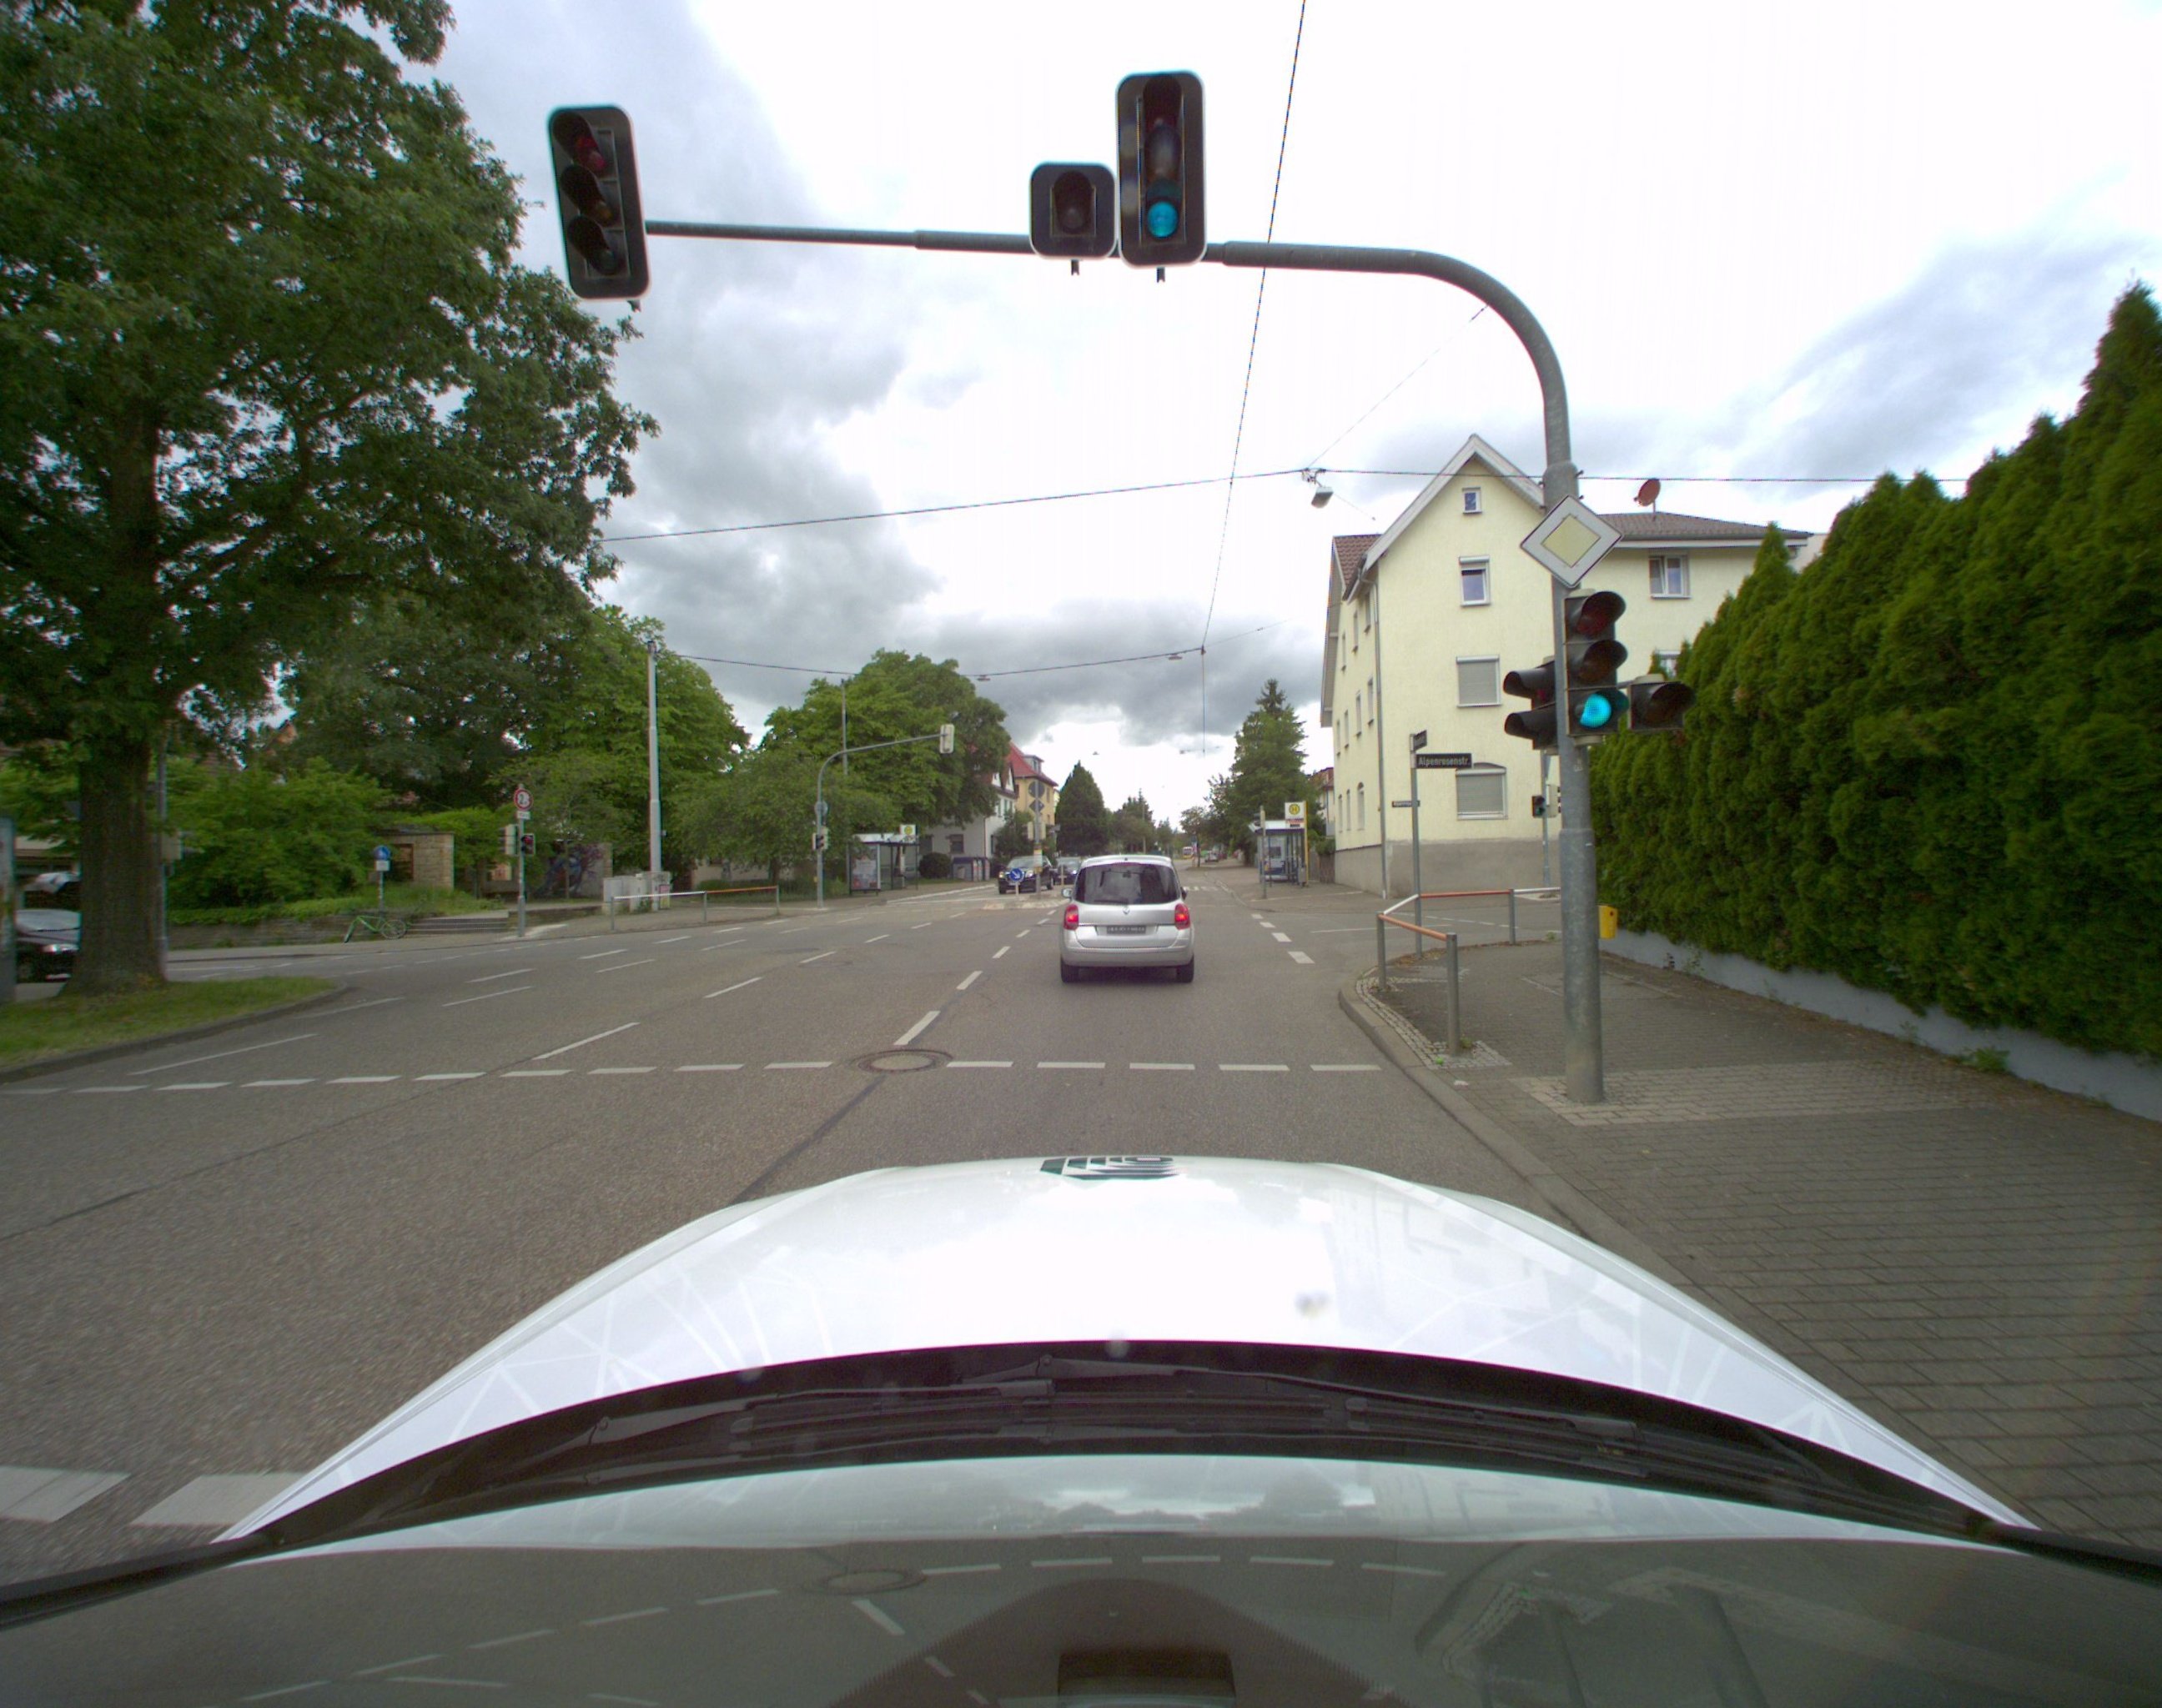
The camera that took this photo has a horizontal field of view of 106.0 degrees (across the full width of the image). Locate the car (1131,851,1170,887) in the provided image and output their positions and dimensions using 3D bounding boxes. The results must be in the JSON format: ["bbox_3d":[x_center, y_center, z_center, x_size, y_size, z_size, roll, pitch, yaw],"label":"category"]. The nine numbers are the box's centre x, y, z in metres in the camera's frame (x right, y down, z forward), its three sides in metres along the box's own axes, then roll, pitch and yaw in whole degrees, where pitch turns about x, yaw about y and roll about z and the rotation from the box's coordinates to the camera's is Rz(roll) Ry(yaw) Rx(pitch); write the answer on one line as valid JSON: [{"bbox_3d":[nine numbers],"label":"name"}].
[{"bbox_3d":[3.523,0.758,41.504,1.821,1.675,3.578,-2,-1,4],"label":"car"}]

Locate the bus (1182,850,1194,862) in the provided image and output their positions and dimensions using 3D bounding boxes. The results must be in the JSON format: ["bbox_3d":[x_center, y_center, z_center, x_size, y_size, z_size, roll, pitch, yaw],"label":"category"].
[{"bbox_3d":[28.436,0.508,216.355,2.616,3.086,12.101,-3,-1,9],"label":"bus"}]

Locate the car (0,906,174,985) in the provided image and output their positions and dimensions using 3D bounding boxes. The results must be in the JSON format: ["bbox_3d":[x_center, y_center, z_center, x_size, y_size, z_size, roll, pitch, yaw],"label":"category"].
[{"bbox_3d":[-21.477,1.887,16.885,3.614,1.398,1.775,-2,-1,7],"label":"car"}]

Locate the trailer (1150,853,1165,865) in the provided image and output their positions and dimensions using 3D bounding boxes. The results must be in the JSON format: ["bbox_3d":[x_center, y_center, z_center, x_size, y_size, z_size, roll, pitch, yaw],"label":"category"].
[{"bbox_3d":[14.066,0.894,149.355,2.298,2.087,5.887,0,-1,9],"label":"trailer"}]

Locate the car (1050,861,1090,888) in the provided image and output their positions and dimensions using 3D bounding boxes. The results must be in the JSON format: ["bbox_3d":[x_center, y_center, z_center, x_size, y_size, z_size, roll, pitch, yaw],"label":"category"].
[{"bbox_3d":[-0.600,1.194,47.684,1.554,1.420,4.141,-2,-2,9],"label":"car"}]

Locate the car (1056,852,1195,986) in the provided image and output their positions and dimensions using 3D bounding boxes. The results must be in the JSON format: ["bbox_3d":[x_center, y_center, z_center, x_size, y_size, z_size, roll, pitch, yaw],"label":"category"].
[{"bbox_3d":[0.612,0.797,11.512,1.623,1.557,4.002,0,-1,3],"label":"car"}]

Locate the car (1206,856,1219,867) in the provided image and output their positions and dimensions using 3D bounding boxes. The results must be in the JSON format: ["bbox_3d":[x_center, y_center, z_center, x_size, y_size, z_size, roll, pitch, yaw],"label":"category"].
[{"bbox_3d":[17.500,1.042,108.271,1.639,1.382,4.012,-1,-1,11],"label":"car"}]

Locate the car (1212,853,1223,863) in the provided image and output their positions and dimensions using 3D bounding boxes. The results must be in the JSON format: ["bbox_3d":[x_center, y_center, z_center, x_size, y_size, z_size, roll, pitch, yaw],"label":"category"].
[{"bbox_3d":[21.974,0.650,131.317,1.653,1.564,4.108,-2,0,8],"label":"car"}]

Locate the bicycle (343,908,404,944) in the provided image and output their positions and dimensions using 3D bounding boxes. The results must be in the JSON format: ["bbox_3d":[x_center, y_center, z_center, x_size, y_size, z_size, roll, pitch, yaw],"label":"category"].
[{"bbox_3d":[-21.302,2.169,24.531,1.313,0.942,0.424,-4,-1,-8],"label":"bicycle"}]

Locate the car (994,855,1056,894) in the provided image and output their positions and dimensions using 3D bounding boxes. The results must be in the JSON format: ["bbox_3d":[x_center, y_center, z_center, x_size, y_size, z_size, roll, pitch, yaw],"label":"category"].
[{"bbox_3d":[-2.561,0.968,38.116,1.747,1.635,4.607,-4,-2,10],"label":"car"}]

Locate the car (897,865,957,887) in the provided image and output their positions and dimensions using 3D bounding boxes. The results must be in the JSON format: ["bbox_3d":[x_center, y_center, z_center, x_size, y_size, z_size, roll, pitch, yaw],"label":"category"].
[{"bbox_3d":[-11.563,1.647,61.251,3.964,1.332,1.726,-4,-2,8],"label":"car"}]

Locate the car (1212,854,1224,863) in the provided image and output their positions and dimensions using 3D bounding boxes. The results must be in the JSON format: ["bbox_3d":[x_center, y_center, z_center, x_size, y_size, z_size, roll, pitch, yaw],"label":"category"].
[{"bbox_3d":[21.345,0.696,126.939,1.651,1.393,3.680,-2,0,13],"label":"car"}]
